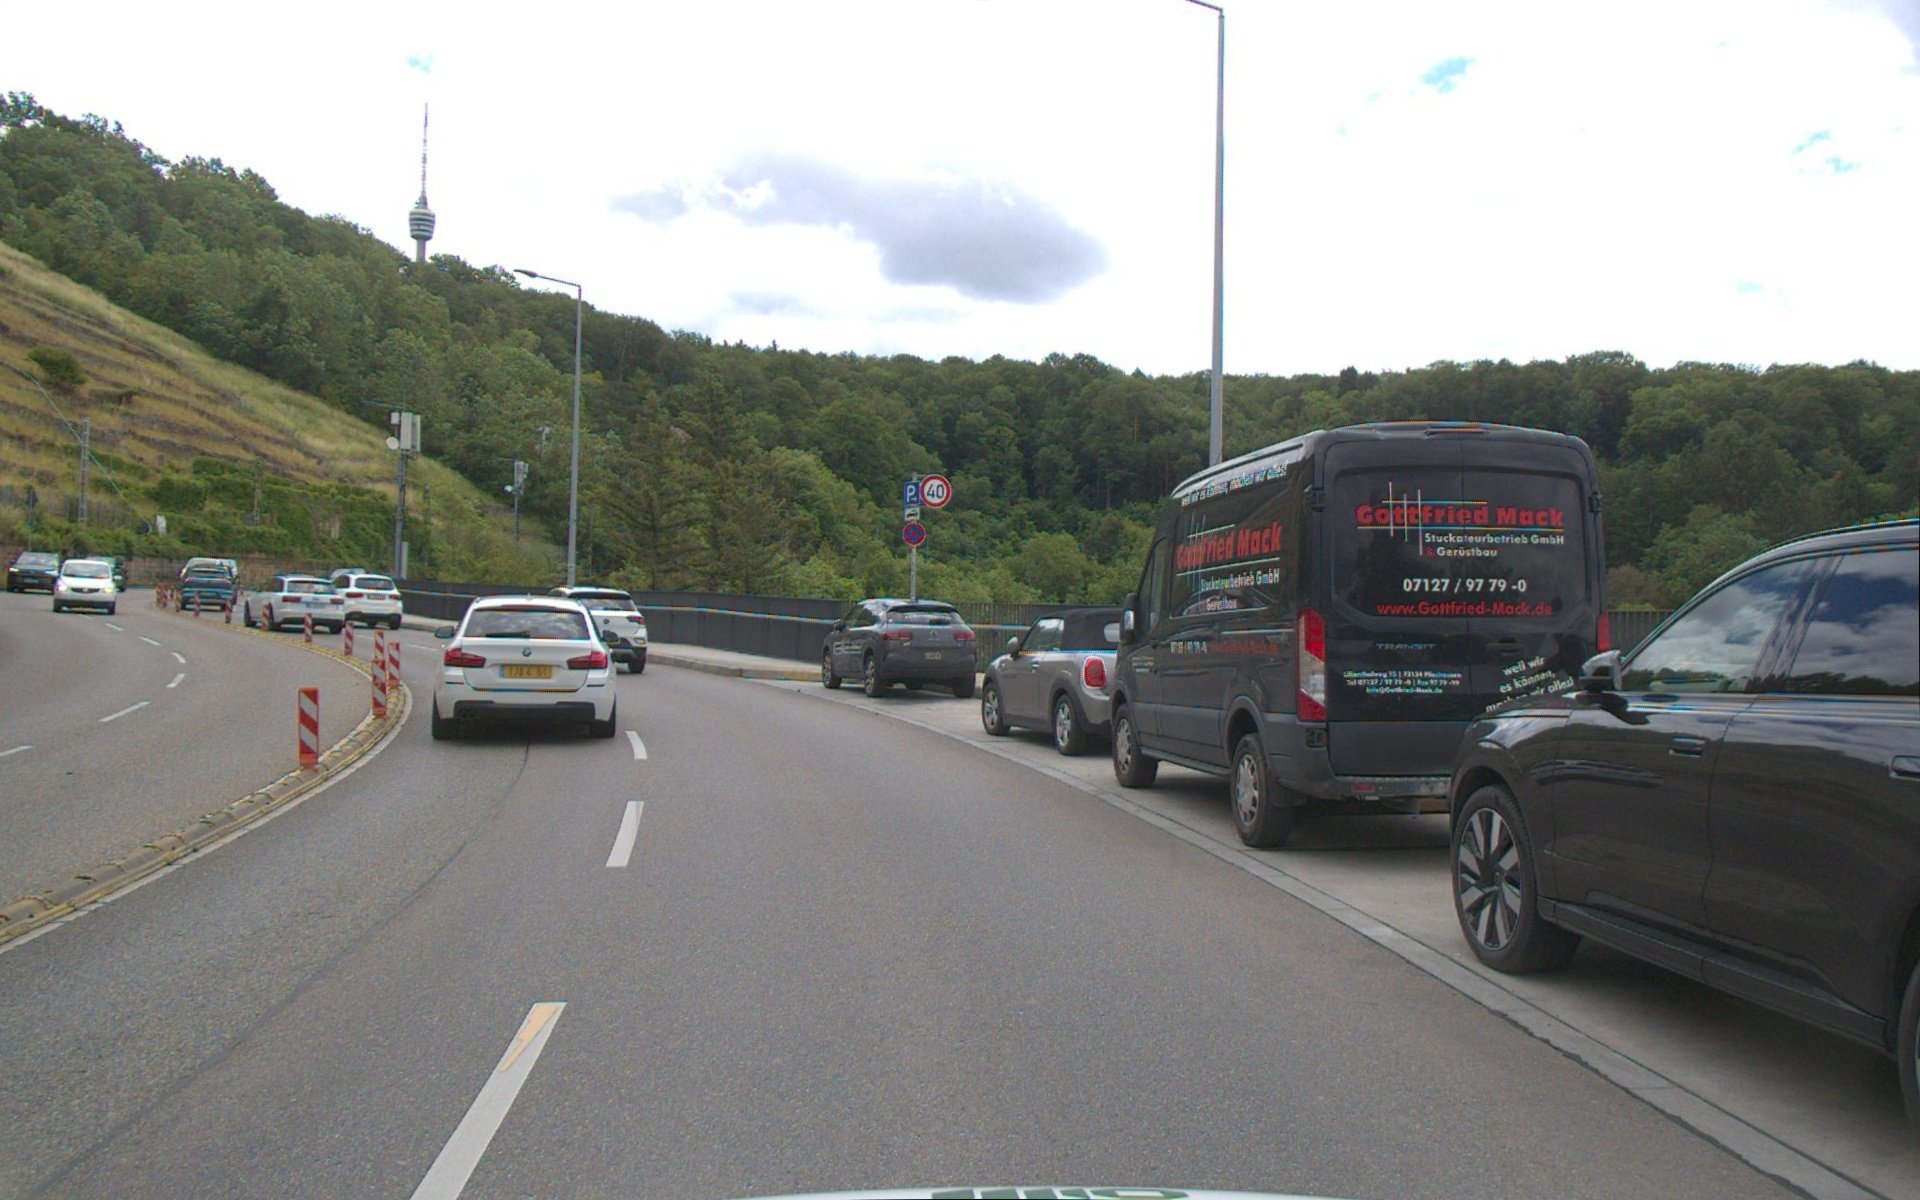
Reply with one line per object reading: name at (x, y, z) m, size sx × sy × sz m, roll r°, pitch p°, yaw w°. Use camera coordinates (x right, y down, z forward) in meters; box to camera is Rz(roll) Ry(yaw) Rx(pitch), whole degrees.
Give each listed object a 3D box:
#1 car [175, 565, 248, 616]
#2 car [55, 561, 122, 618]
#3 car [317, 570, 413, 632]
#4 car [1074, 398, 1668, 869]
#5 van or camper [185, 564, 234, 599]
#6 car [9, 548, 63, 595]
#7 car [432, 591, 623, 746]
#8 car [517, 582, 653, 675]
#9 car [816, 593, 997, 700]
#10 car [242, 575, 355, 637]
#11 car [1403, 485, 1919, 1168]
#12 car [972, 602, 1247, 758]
car at (-27.339, -0.332, 60.345) m, size 1.974 × 1.677 × 3.957 m, roll -2°, pitch -1°, yaw -31°
car at (-26.047, -0.346, 49.522) m, size 1.681 × 1.575 × 3.965 m, roll 1°, pitch 1°, yaw -27°
car at (-18.565, 0.047, 51.524) m, size 1.975 × 1.748 × 4.067 m, roll -1°, pitch -1°, yaw -32°
car at (2.535, 0.158, 12.125) m, size 2.126 × 2.566 × 5.759 m, roll -2°, pitch 0°, yaw -9°
van or camper at (-44.892, -1.108, 98.989) m, size 2.114 × 2.051 × 4.938 m, roll 0°, pitch 0°, yaw -18°
car at (-37.668, -1.139, 67.429) m, size 1.823 × 1.756 × 4.418 m, roll 2°, pitch -1°, yaw -30°
car at (-4.893, 0.659, 18.328) m, size 1.799 × 1.485 × 4.463 m, roll 1°, pitch 0°, yaw -18°
car at (-7.270, 0.512, 31.807) m, size 1.804 × 1.634 × 3.970 m, roll -1°, pitch 0°, yaw -24°
car at (-0.956, 0.706, 26.792) m, size 1.846 × 1.570 × 4.068 m, roll 2°, pitch 0°, yaw -18°
car at (-18.113, 0.195, 45.171) m, size 1.976 × 1.529 × 4.612 m, roll -1°, pitch -1°, yaw -33°
car at (3.317, 0.580, 5.368) m, size 1.955 × 1.748 × 5.042 m, roll -1°, pitch -1°, yaw -6°
car at (1.468, 0.765, 17.704) m, size 1.686 × 1.456 × 3.833 m, roll 1°, pitch 0°, yaw -16°
